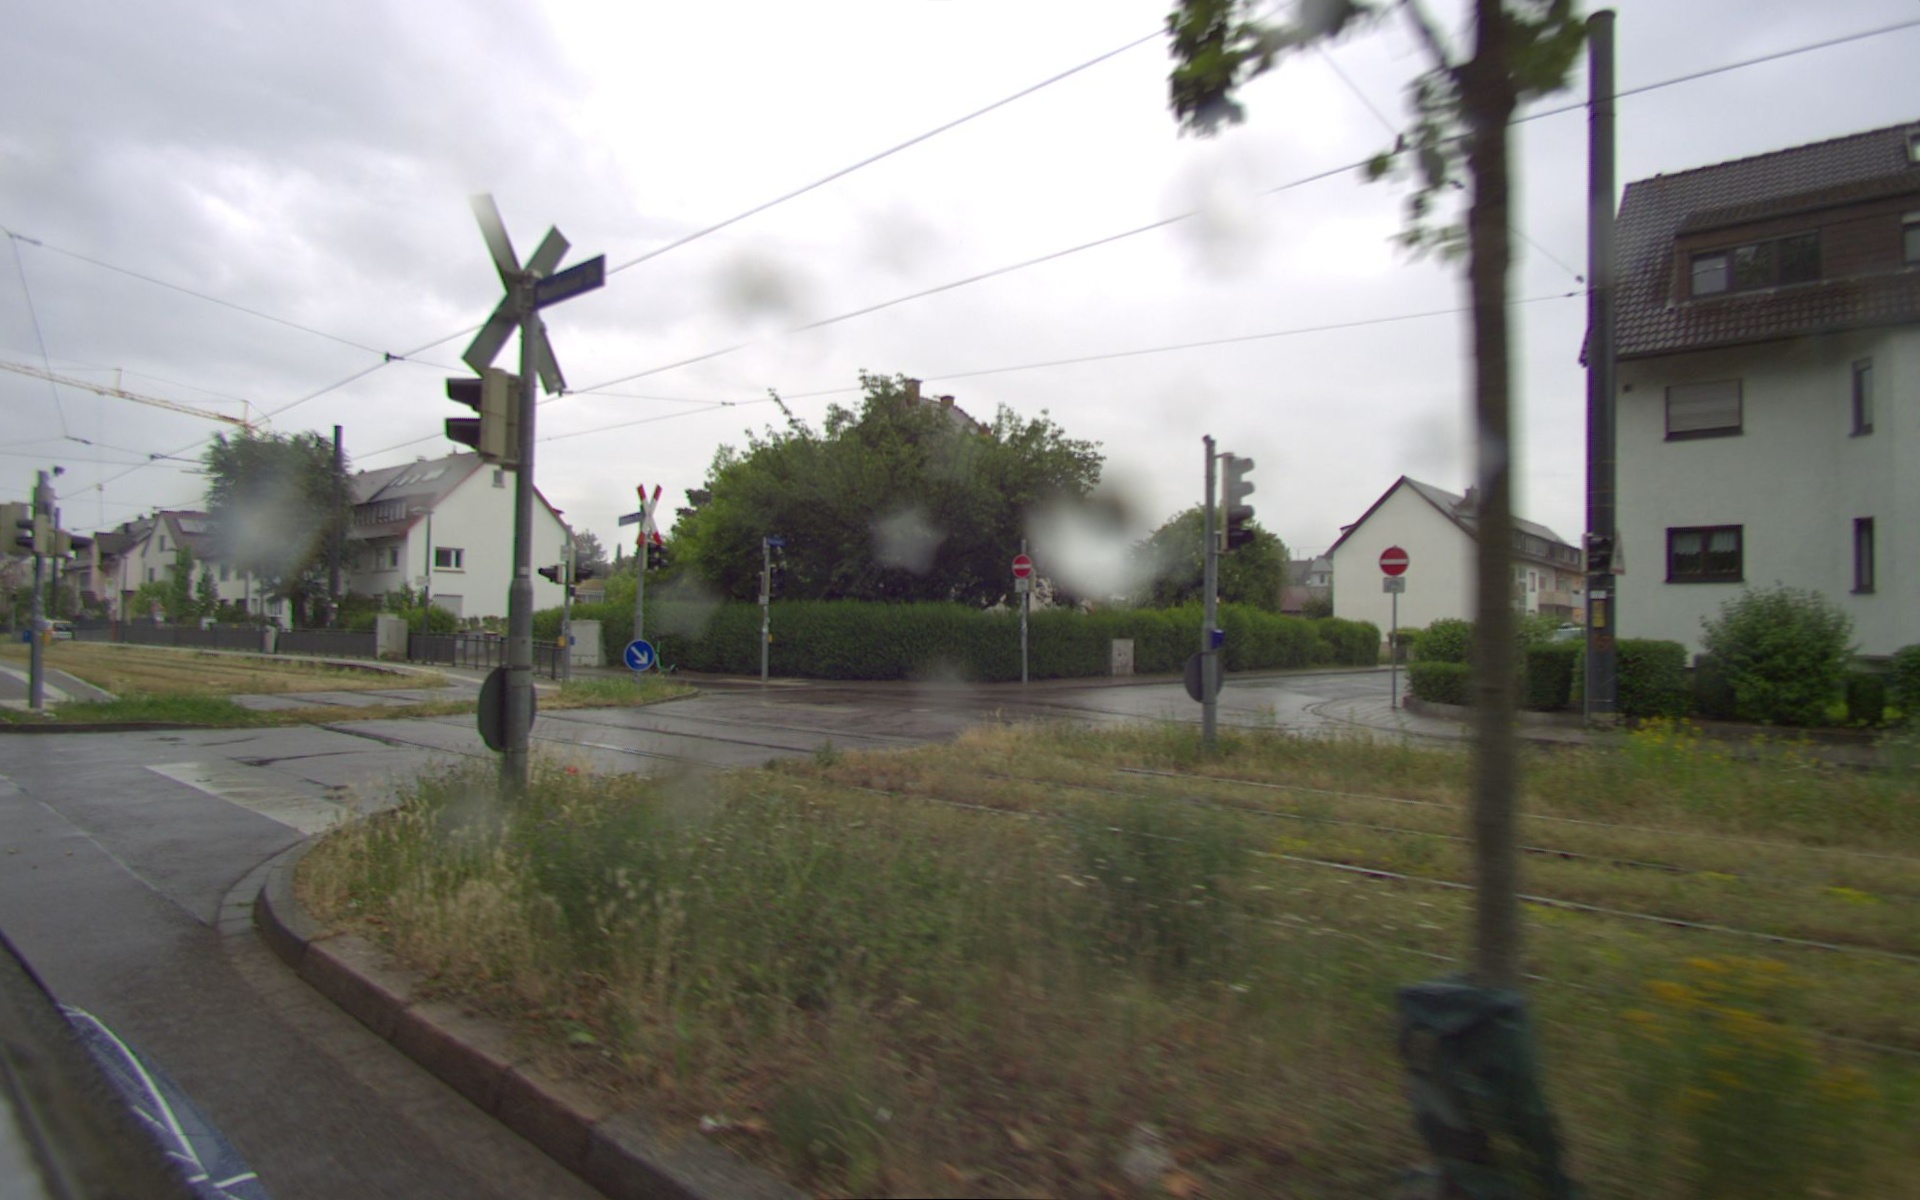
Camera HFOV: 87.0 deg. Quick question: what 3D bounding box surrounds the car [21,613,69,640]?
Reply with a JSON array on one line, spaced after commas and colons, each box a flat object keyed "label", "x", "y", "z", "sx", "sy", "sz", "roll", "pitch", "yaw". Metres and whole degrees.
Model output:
[{"label": "car", "x": -71.661, "y": 2.070, "z": 79.251, "sx": 3.992, "sy": 2.029, "sz": 1.976, "roll": -1, "pitch": -2, "yaw": 36}]

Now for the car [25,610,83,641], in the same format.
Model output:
[{"label": "car", "x": -62.246, "y": 1.739, "z": 69.538, "sx": 3.988, "sy": 2.029, "sz": 1.977, "roll": -1, "pitch": -2, "yaw": 33}]

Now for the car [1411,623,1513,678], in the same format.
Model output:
[{"label": "car", "x": 16.061, "y": 1.583, "z": 32.294, "sx": 1.899, "sy": 1.652, "sz": 3.944, "roll": -1, "pitch": -2, "yaw": 42}]

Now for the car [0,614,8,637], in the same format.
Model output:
[{"label": "car", "x": -88.675, "y": 2.286, "z": 92.201, "sx": 3.990, "sy": 2.029, "sz": 1.977, "roll": -1, "pitch": -2, "yaw": 35}]

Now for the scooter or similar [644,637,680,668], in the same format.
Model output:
[{"label": "scooter or similar", "x": -9.091, "y": 1.580, "z": 30.827, "sx": 1.256, "sy": 0.917, "sz": 0.343, "roll": -1, "pitch": -2, "yaw": 37}]
